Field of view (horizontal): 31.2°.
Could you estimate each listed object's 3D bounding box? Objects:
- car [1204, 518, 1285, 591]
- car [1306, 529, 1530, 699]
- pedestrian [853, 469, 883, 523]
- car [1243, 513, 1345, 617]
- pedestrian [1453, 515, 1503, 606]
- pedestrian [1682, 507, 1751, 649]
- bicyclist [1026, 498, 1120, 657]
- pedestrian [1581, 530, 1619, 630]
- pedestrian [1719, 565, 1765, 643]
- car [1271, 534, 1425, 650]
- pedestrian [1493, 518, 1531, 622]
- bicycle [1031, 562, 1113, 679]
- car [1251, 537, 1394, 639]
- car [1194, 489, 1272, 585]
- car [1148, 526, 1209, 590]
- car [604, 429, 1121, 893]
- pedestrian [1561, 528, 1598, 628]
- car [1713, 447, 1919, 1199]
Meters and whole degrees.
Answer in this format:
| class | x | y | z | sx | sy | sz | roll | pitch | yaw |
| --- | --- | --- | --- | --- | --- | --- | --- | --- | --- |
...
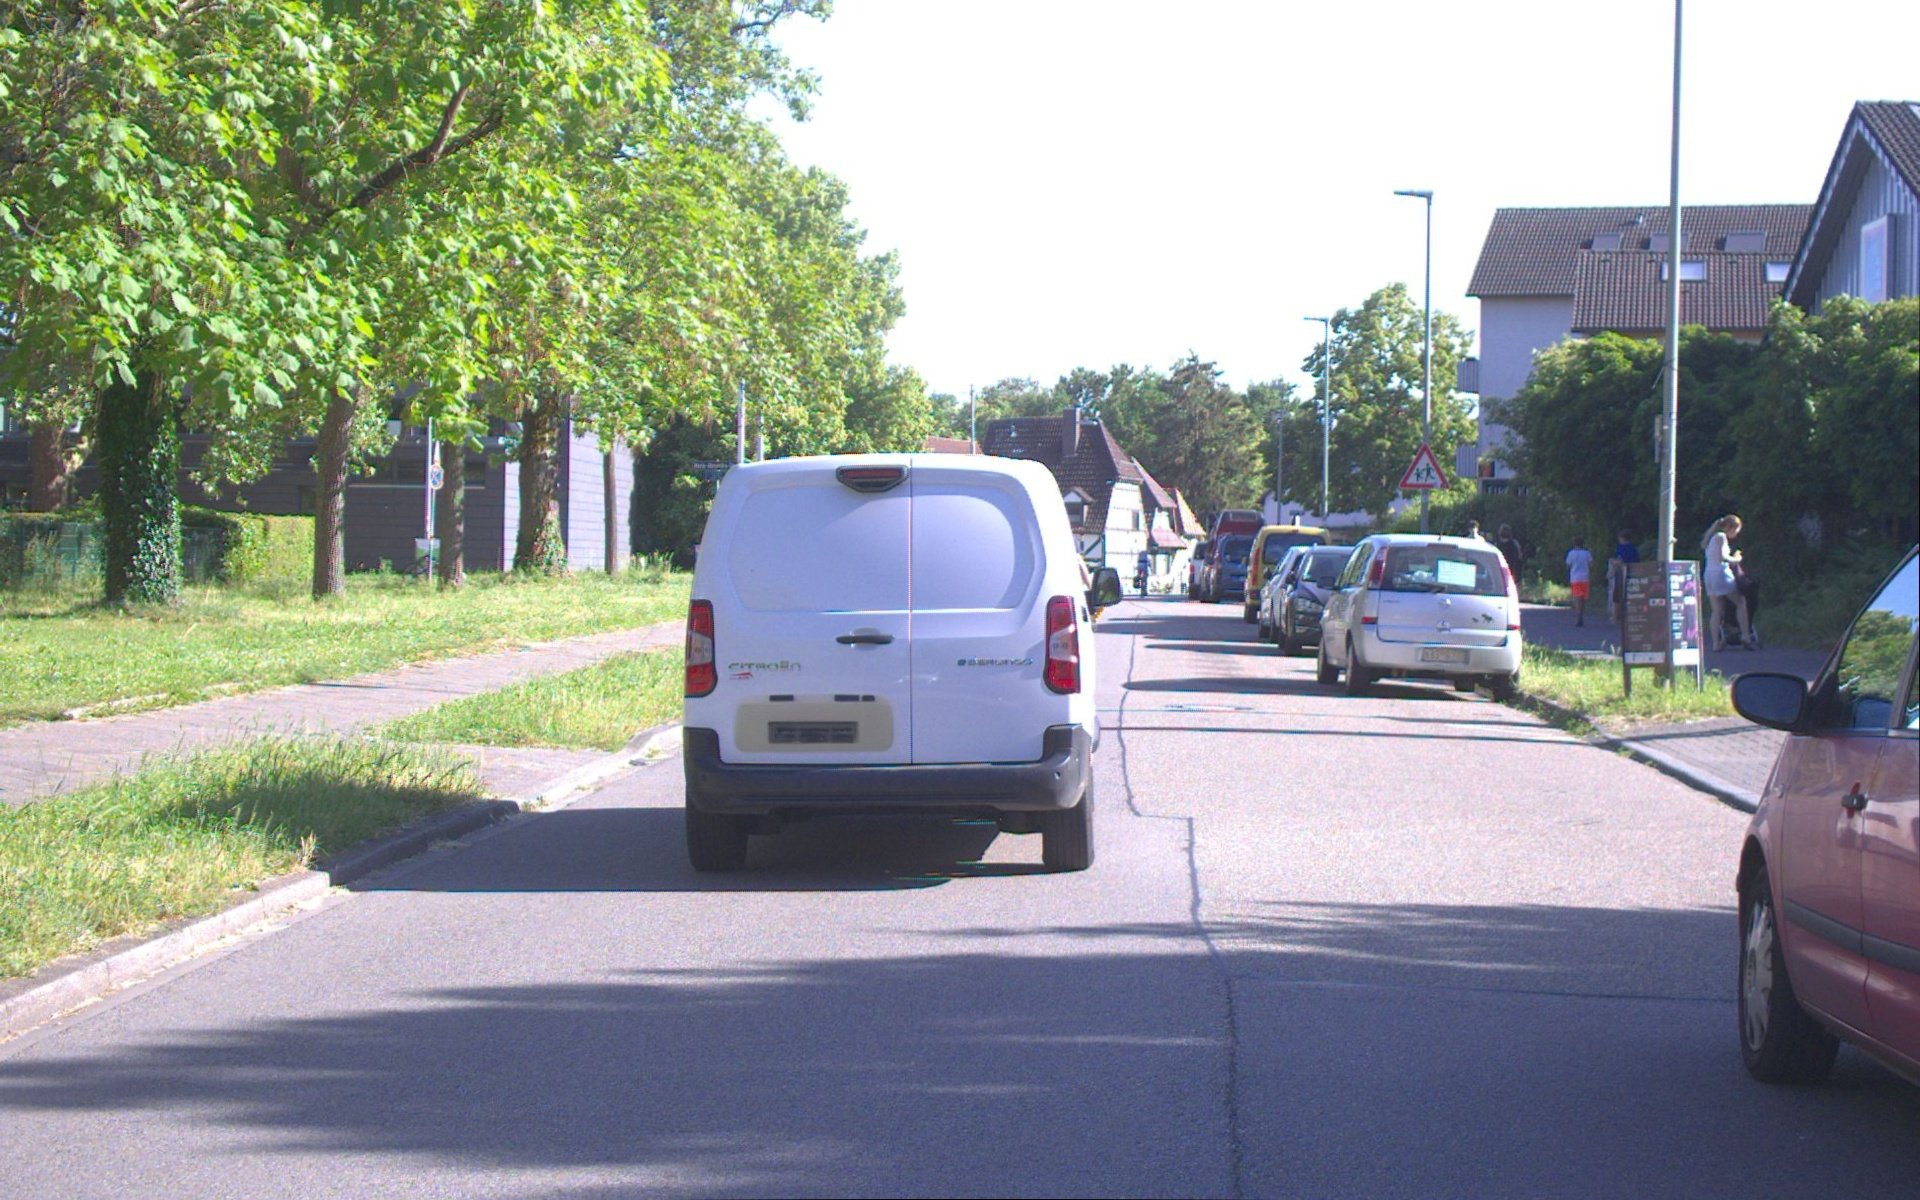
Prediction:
| class | x | y | z | sx | sy | sz | roll | pitch | yaw |
| --- | --- | --- | --- | --- | --- | --- | --- | --- | --- |
| car | 7.457 | -1.177 | 90.416 | 1.804 | 1.779 | 4.000 | 3 | 0 | 2 |
| car | 4.587 | 0.111 | 34.944 | 1.679 | 1.594 | 4.028 | 1 | 1 | 0 |
| pedestrian | -2.466 | -2.799 | 92.352 | 0.510 | 1.441 | 0.638 | 2 | 1 | 36 |
| car | 6.167 | -0.654 | 63.821 | 1.724 | 1.831 | 4.000 | 1 | 1 | 4 |
| pedestrian | 10.701 | -0.826 | 71.052 | 0.793 | 1.855 | 0.874 | 1 | 1 | -4 |
| pedestrian | 9.555 | -0.285 | 43.430 | 0.799 | 1.775 | 0.808 | 1 | 1 | 11 |
| bicyclist | 1.156 | -0.226 | 35.167 | 0.905 | 1.579 | 0.966 | 2 | 0 | 2 |
| pedestrian | 10.543 | -0.339 | 56.686 | 0.567 | 1.631 | 0.546 | 1 | 1 | 9 |
| pedestrian | 10.052 | 0.043 | 44.215 | 0.532 | 0.977 | 0.810 | 1 | 1 | 11 |
| car | 5.186 | -0.146 | 46.408 | 1.807 | 1.438 | 4.363 | 1 | 1 | 3 |
| pedestrian | 8.710 | -0.475 | 54.256 | 0.567 | 1.631 | 0.546 | 1 | 1 | 9 |
| bicycle | 1.130 | 0.194 | 35.174 | 0.787 | 1.135 | 2.280 | 1 | 1 | 1 |
| car | 5.469 | -0.205 | 52.261 | 1.826 | 1.447 | 4.000 | 1 | 1 | 2 |
| car | 7.748 | -1.767 | 97.869 | 1.866 | 2.553 | 4.767 | 3 | 0 | 2 |
| car | 7.396 | -1.403 | 116.688 | 1.804 | 2.061 | 4.000 | 3 | 0 | 2 |
| car | -0.309 | 0.204 | 16.318 | 1.994 | 1.875 | 4.288 | 1 | 1 | 4 |
| pedestrian | 10.224 | -0.369 | 56.749 | 0.567 | 1.631 | 0.546 | 1 | 1 | 9 |
| car | 3.017 | 0.575 | 7.864 | 1.840 | 1.799 | 4.653 | 1 | 1 | 4 |
